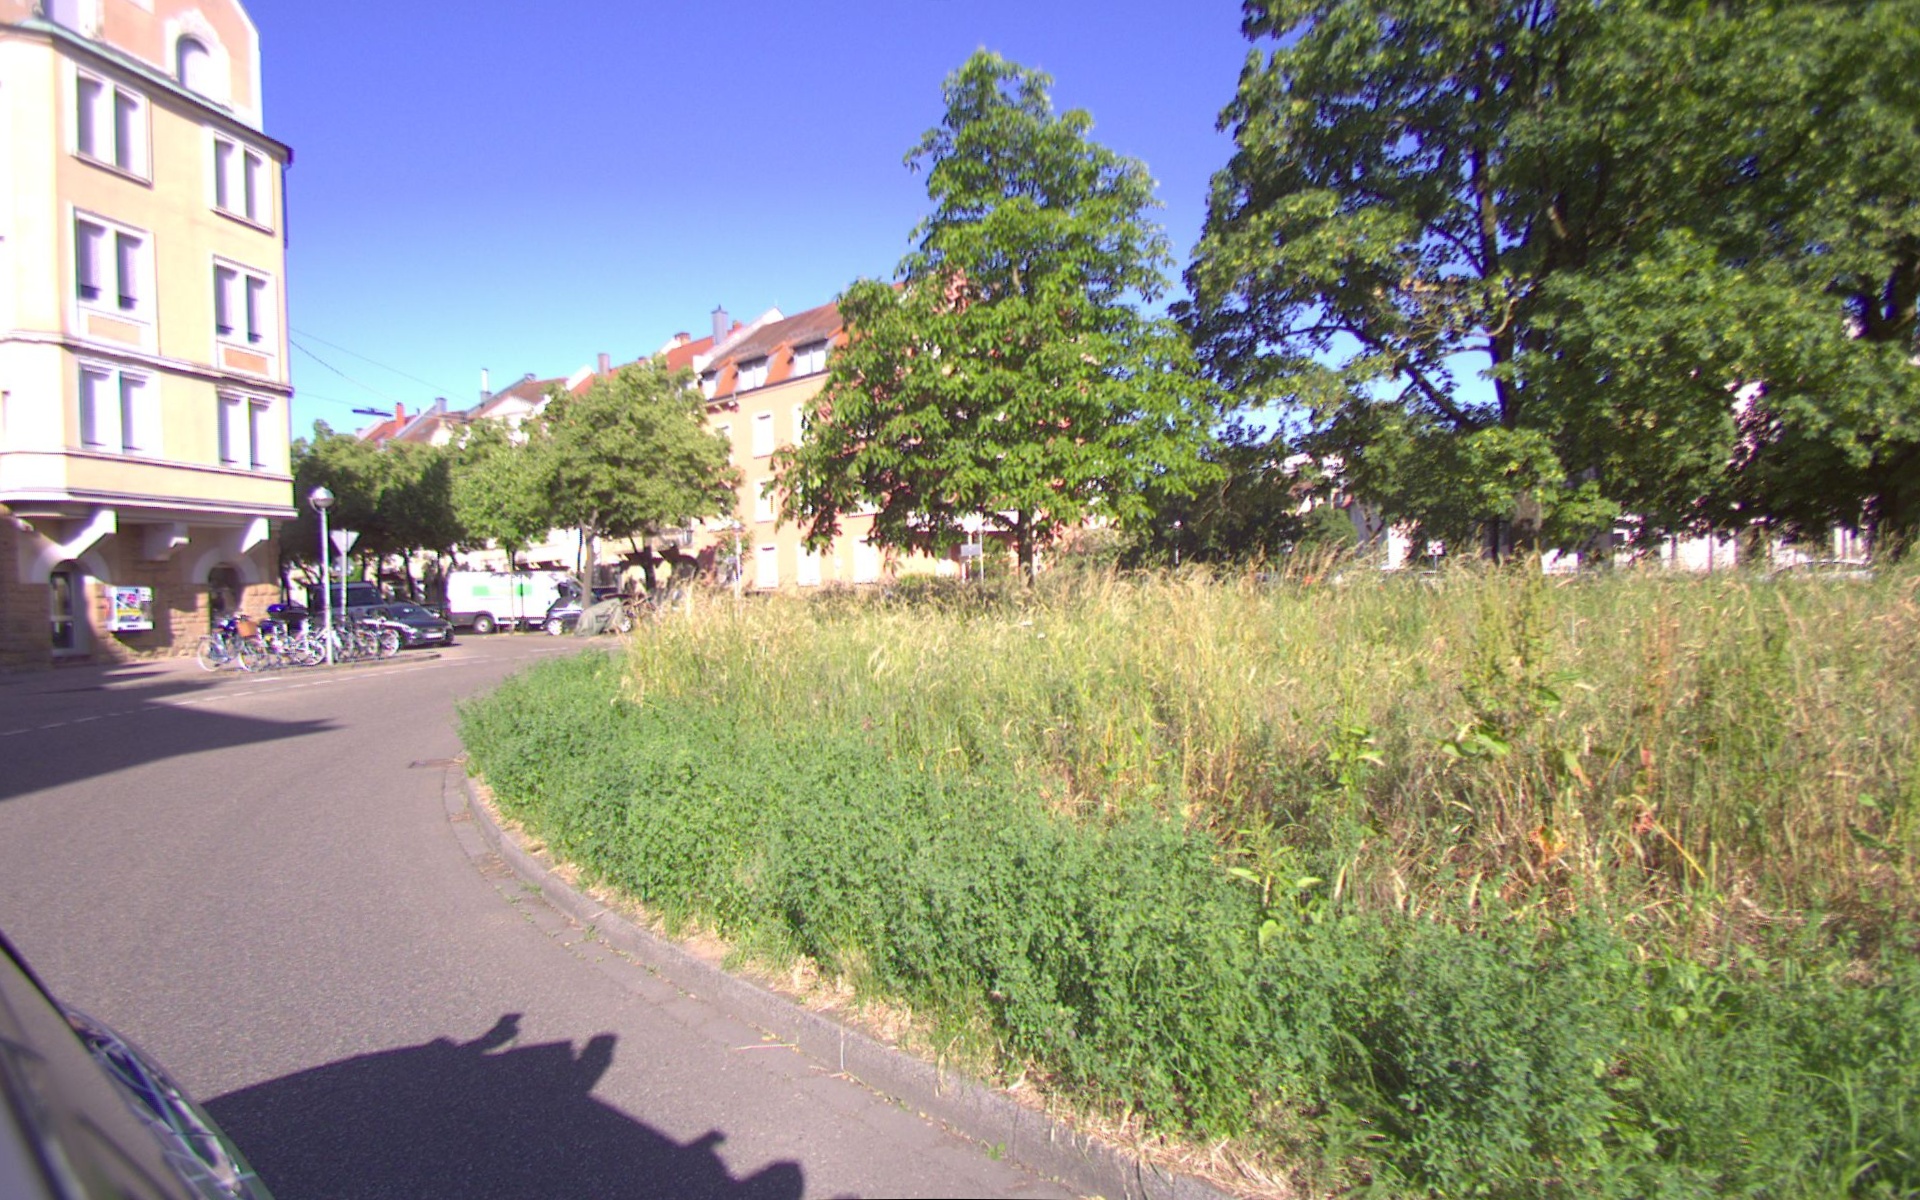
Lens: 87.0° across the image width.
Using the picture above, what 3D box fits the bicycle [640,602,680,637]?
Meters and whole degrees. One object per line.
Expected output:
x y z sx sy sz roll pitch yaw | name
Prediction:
-10.785 0.703 36.302 1.679 1.202 0.531 -2 1 42 | bicycle

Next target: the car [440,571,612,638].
-18.113 0.195 42.529 6.274 2.620 2.107 -1 -1 -9 | car

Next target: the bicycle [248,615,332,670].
-14.844 0.944 22.425 1.683 1.154 0.634 -2 1 18 | bicycle

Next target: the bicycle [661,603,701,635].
-10.184 0.699 36.899 1.602 1.135 0.581 -2 1 42 | bicycle

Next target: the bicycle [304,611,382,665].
-14.514 0.893 23.812 1.678 1.200 0.450 -2 1 10 | bicycle

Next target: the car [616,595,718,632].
-12.181 0.564 42.114 3.854 1.457 1.694 -1 -1 -25 | car

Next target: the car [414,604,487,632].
-28.386 1.015 56.498 3.328 1.481 1.692 -1 -1 -11 | car

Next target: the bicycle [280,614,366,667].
-14.616 0.927 23.240 1.678 1.154 0.615 -2 1 10 | bicycle

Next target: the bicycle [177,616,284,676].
-15.168 0.954 21.055 1.848 1.138 0.697 -2 1 13 | bicycle

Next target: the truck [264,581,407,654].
-22.107 0.620 35.689 6.613 2.309 2.112 -2 1 39 | truck

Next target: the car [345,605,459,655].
-17.723 0.950 32.111 3.915 1.400 1.667 -2 1 37 | car

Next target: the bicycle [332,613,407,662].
-14.425 0.911 24.729 1.701 1.132 0.481 -2 1 13 | bicycle

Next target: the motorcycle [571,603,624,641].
-12.742 0.766 35.582 1.686 1.280 0.538 0 0 -45 | motorcycle

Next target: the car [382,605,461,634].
-28.441 1.027 53.536 3.328 1.481 1.692 -1 -1 -11 | car

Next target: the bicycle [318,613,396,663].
-14.446 0.917 24.234 1.678 1.132 0.482 -2 1 10 | bicycle

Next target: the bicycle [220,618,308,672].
-15.011 0.976 21.819 1.864 1.098 0.533 -2 1 19 | bicycle

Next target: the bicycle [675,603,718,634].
-9.753 0.691 37.458 1.729 1.097 0.648 -2 1 42 | bicycle

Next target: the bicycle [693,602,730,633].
-9.295 0.655 37.821 1.650 1.110 0.493 -2 1 43 | bicycle

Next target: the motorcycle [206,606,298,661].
-19.205 0.900 27.514 0.692 1.422 2.244 -1 -1 9 | motorcycle

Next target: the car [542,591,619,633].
-17.809 0.575 47.542 3.325 1.879 1.693 -1 -1 -20 | car

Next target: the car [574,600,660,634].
-15.617 0.747 46.134 3.328 1.457 1.692 -1 -1 -36 | car

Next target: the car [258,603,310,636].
-60.055 1.734 89.891 4.856 2.868 2.401 -2 -1 37 | car

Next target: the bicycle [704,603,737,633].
-9.072 0.681 38.326 1.574 1.097 0.413 -1 0 44 | bicycle
